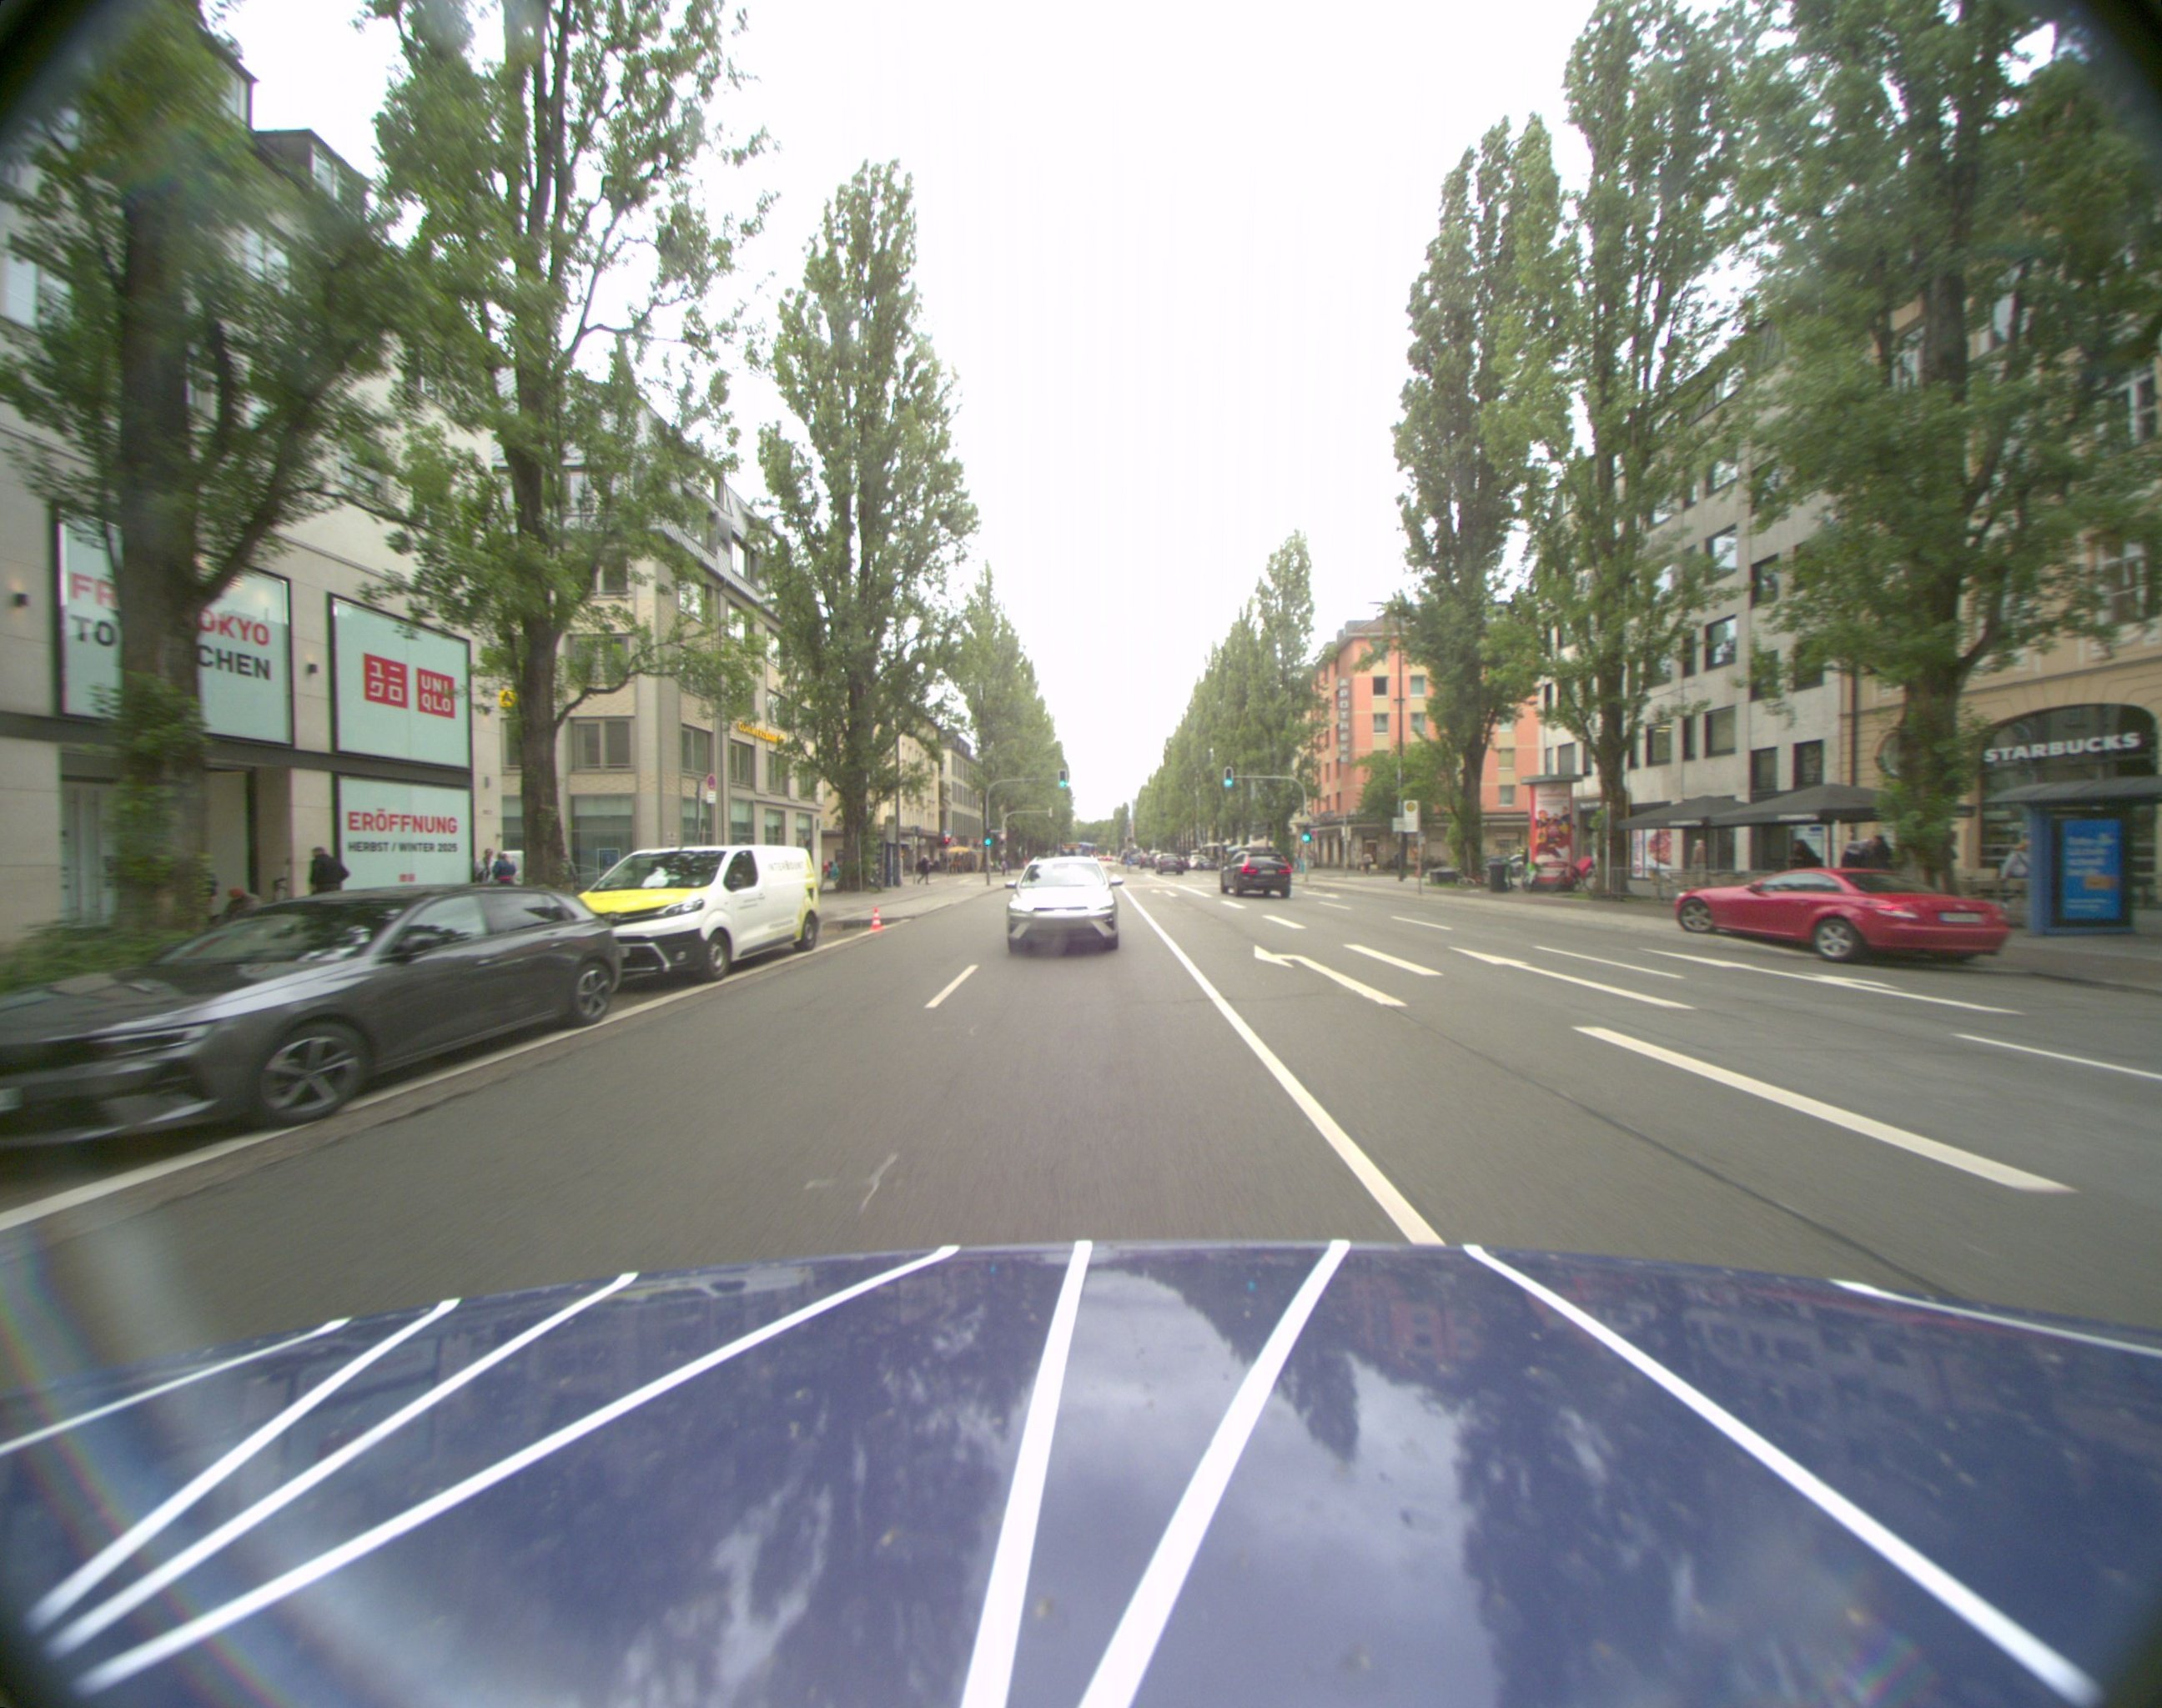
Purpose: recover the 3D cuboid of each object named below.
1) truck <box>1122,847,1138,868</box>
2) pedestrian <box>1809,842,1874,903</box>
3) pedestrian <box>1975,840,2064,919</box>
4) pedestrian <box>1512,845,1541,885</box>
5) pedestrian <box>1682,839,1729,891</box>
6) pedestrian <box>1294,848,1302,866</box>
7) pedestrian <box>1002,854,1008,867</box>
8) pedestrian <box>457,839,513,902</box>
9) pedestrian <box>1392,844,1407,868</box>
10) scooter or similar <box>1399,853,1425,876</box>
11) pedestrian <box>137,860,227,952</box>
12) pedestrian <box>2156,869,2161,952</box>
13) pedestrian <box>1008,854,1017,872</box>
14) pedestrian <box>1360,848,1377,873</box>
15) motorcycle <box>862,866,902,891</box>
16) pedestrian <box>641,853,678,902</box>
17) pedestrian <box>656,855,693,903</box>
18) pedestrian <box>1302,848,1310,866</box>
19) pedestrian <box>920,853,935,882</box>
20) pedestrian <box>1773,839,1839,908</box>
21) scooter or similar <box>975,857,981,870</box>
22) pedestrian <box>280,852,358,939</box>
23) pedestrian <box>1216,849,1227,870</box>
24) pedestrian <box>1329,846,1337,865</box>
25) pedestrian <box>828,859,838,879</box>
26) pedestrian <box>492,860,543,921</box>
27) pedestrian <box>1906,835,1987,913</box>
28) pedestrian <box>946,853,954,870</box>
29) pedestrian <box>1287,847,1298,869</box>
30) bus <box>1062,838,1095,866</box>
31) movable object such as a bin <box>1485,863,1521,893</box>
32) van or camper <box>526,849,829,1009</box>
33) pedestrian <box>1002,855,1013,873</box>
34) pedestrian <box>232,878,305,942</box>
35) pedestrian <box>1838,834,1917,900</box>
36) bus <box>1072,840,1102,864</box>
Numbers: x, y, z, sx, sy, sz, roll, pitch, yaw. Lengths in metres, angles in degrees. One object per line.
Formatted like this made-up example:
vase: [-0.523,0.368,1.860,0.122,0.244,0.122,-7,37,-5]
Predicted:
truck: [8.619,0.566,135.398,2.469,3.649,8.439,-1,1,1]
pedestrian: [20.311,0.474,20.316,0.752,1.558,0.989,-2,1,2]
pedestrian: [20.768,0.551,16.839,0.734,1.672,0.977,-2,1,1]
pedestrian: [19.908,0.466,33.967,0.729,1.730,0.942,-2,1,1]
pedestrian: [21.641,0.370,26.351,0.845,1.734,0.954,-2,1,2]
pedestrian: [20.173,0.267,70.626,0.508,1.661,0.626,-1,1,3]
pedestrian: [-11.107,0.935,110.950,0.658,1.840,0.906,-1,1,3]
pedestrian: [-16.510,0.439,21.070,0.752,1.708,0.963,-1,1,2]
pedestrian: [23.655,0.144,56.420,0.780,1.756,0.692,-1,1,1]
scooter or similar: [19.523,0.599,44.855,1.362,1.331,0.439,-1,1,21]
pedestrian: [-16.323,0.913,13.819,0.672,1.600,0.827,-1,1,-14]
pedestrian: [16.873,0.851,11.198,0.963,1.249,0.757,-2,1,3]
pedestrian: [-6.208,0.804,69.362,0.767,1.600,0.864,-1,1,-3]
pedestrian: [18.585,0.415,49.120,0.780,1.609,0.934,-1,1,1]
motorcycle: [-9.357,1.158,35.824,1.728,1.133,0.510,-1,1,2]
pedestrian: [-15.296,0.841,27.580,0.752,1.708,0.963,-1,0,2]
pedestrian: [-14.491,0.879,27.106,0.752,1.667,0.963,0,1,2]
pedestrian: [20.952,0.297,70.753,0.631,1.679,0.519,-2,1,2]
pedestrian: [-9.398,0.838,46.490,0.710,1.748,0.752,-1,1,2]
pedestrian: [18.540,0.497,19.438,0.908,1.734,0.820,0,0,6]
scooter or similar: [-9.778,0.860,72.239,0.408,1.236,1.370,-1,0,-15]
pedestrian: [-15.737,0.838,15.713,0.683,1.754,0.868,-1,1,7]
pedestrian: [12.661,0.500,68.478,0.736,1.785,0.994,-2,1,19]
pedestrian: [22.704,0.119,68.435,0.588,1.681,0.514,-1,1,1]
pedestrian: [-19.364,1.152,59.313,0.584,1.548,0.445,-2,1,2]
pedestrian: [-15.700,0.994,21.188,0.653,1.653,0.963,-1,1,2]
pedestrian: [19.694,0.443,17.316,0.908,1.734,0.820,-1,1,6]
pedestrian: [-13.245,0.744,76.835,0.541,1.664,0.537,-1,1,8]
pedestrian: [17.591,0.325,63.130,0.726,1.761,0.778,-1,1,2]
bus: [-0.144,-0.221,85.522,2.805,2.886,12.861,-1,0,4]
movable object such as a bin: [15.188,0.854,27.365,0.725,1.035,0.853,-3,1,-28]
van or camper: [-5.632,0.890,11.523,1.873,1.872,4.903,-1,0,1]
pedestrian: [-6.513,0.901,67.432,0.620,1.509,0.767,-3,4,-45]
pedestrian: [-16.547,1.124,15.489,0.671,1.227,0.684,-2,1,3]
pedestrian: [21.320,0.339,20.362,1.084,1.675,0.989,-2,1,0]
bus: [0.871,-0.290,98.293,2.805,2.886,12.862,-1,0,5]
